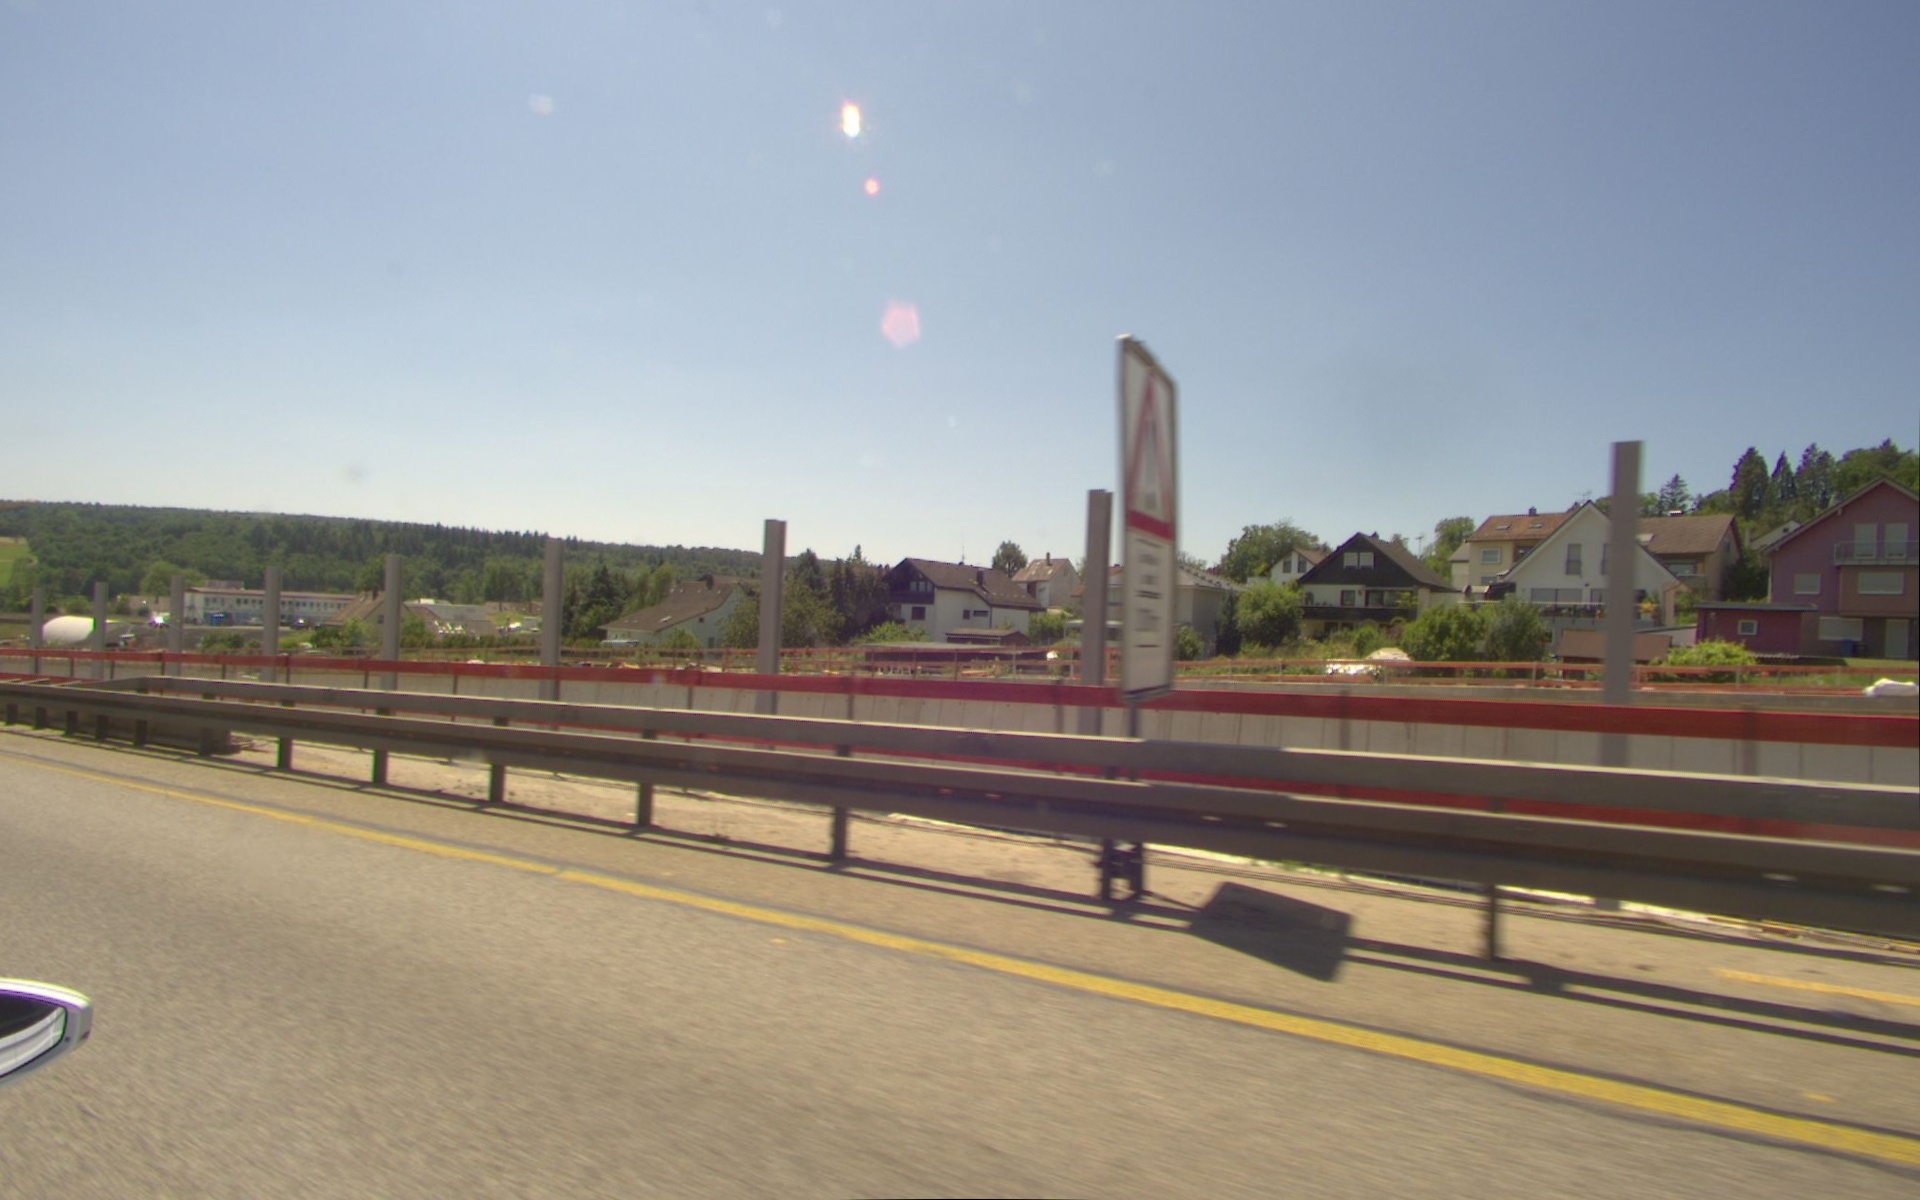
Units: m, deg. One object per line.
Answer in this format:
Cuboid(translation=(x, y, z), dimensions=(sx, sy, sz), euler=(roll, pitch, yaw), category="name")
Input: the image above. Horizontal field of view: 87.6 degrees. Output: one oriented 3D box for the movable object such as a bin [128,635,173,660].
Cuboid(translation=(-73.112, 4.261, 90.447), dimensions=(4.094, 2.267, 1.990), euler=(-1, -2, 33), category="movable object such as a bin")
